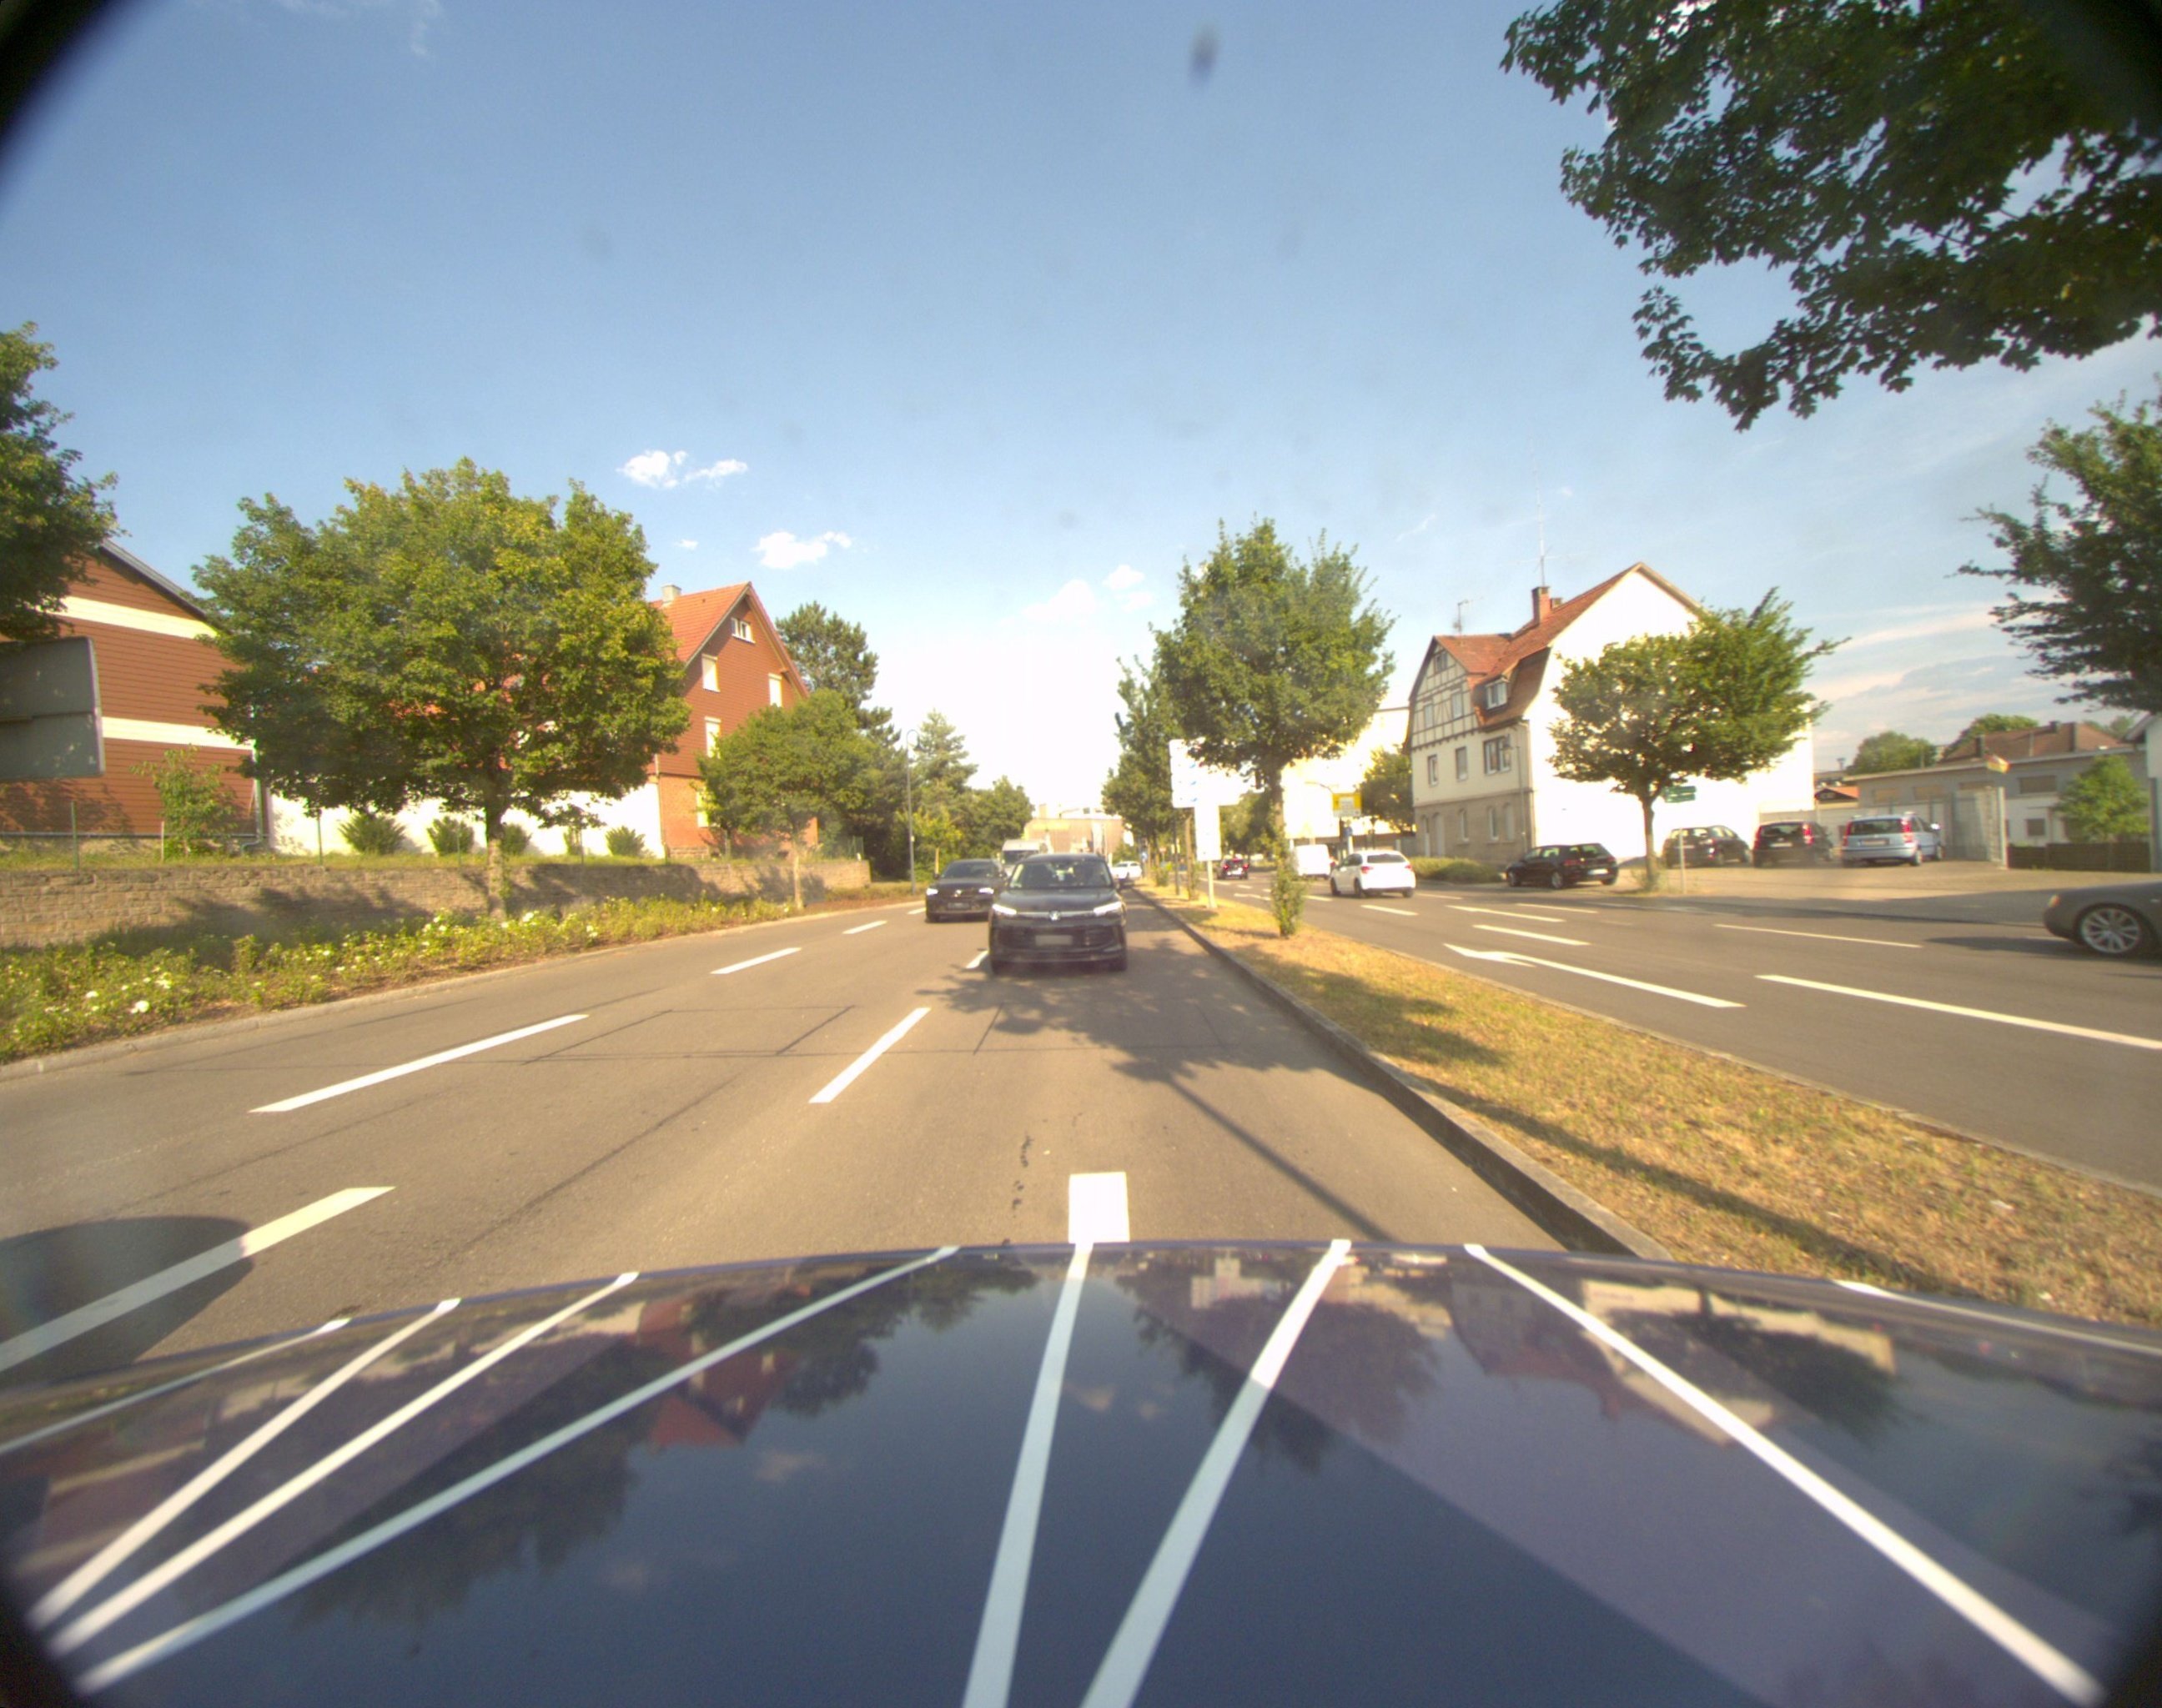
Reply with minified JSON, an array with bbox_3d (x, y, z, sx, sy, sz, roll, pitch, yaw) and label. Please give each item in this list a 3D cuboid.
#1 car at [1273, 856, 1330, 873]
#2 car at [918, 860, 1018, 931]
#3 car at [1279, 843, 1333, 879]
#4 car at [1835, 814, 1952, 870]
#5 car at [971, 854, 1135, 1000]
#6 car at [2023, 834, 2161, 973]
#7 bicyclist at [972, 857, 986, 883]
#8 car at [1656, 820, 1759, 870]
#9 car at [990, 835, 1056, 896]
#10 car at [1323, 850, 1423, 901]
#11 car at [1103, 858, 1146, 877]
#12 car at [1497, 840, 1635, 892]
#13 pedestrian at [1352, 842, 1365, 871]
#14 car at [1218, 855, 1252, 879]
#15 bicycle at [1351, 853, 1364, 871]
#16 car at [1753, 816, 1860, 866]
[{"bbox_3d":[19.876,0.967,68.597,4.660,1.346,1.768,-2,0,9],"label":"car"},{"bbox_3d":[-2.901,1.012,20.386,1.886,1.599,4.128,-2,0,1],"label":"car"},{"bbox_3d":[13.099,0.394,44.586,1.827,1.912,4.945,-2,0,2],"label":"car"},{"bbox_3d":[24.934,-0.389,23.289,4.006,1.543,1.763,-2,0,-33],"label":"car"},{"bbox_3d":[-0.274,0.874,11.396,1.894,1.647,4.730,-2,0,1],"label":"car"},{"bbox_3d":[12.416,0.526,6.999,1.690,1.454,4.711,-2,0,1],"label":"car"},{"bbox_3d":[-6.586,1.013,49.248,0.603,1.668,0.735,-2,1,14],"label":"bicyclist"},{"bbox_3d":[23.243,-0.352,28.163,4.006,1.543,1.764,-4,1,-33],"label":"car"},{"bbox_3d":[-2.594,0.472,35.637,2.370,2.532,6.193,-2,0,2],"label":"car"},{"bbox_3d":[9.435,0.644,24.889,1.805,1.488,3.955,-2,0,1],"label":"car"},{"bbox_3d":[3.613,1.109,62.480,1.763,1.346,4.139,-2,0,30],"label":"car"},{"bbox_3d":[15.917,0.360,25.226,1.839,1.435,4.195,-5,0,1],"label":"car"},{"bbox_3d":[19.036,0.161,52.156,0.698,1.971,0.589,-2,1,15],"label":"pedestrian"},{"bbox_3d":[10.467,0.867,51.780,1.773,1.442,4.109,-2,0,5],"label":"car"},{"bbox_3d":[19.336,0.525,53.191,0.680,1.215,1.516,-2,0,15],"label":"bicycle"},{"bbox_3d":[24.744,-0.438,25.891,4.006,1.543,1.763,-2,0,-33],"label":"car"}]
